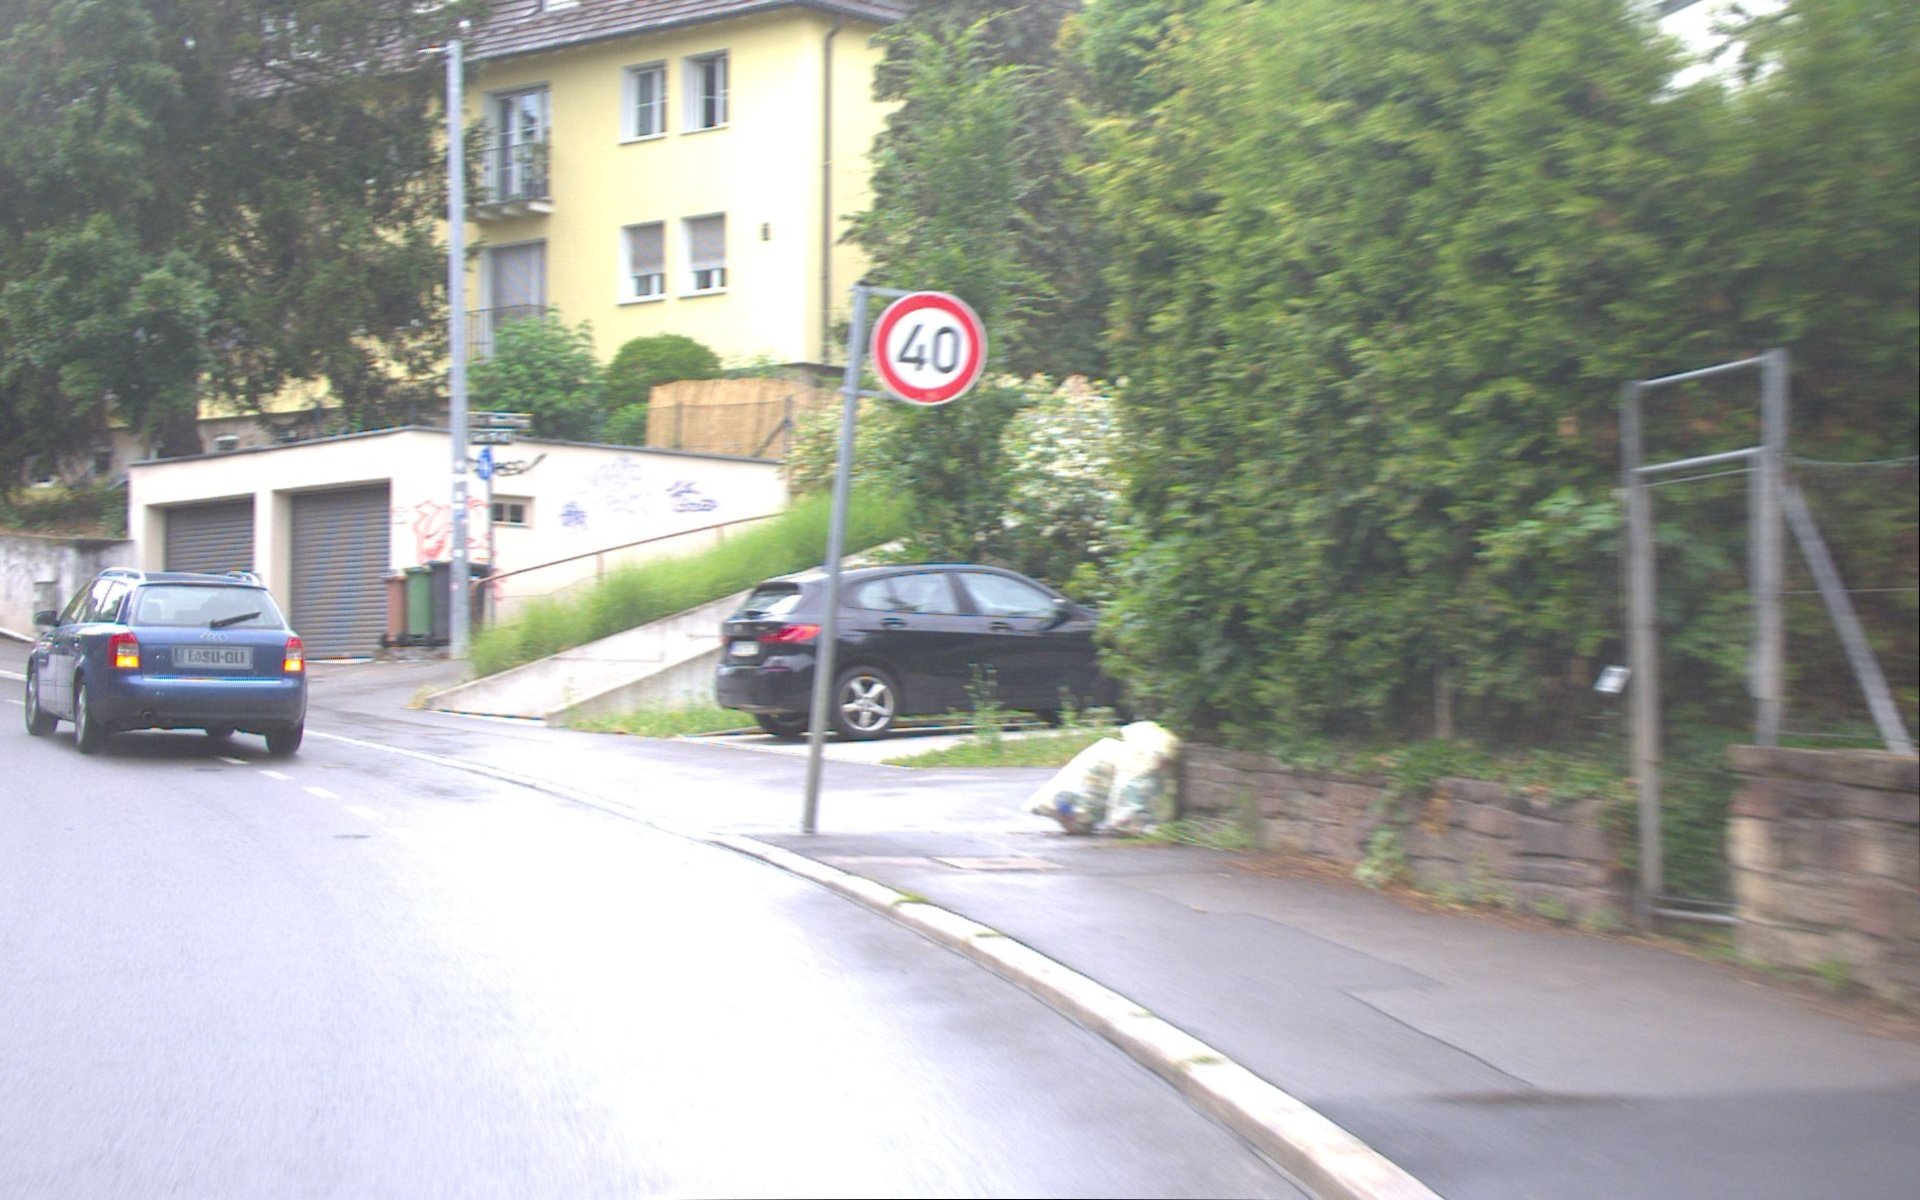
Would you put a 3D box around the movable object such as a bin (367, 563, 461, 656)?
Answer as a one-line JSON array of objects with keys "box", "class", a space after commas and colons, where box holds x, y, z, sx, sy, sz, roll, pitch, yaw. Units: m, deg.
[{"box": [-6.837, 0.114, 43.072, 0.860, 1.138, 0.799, -1, 1, -44], "class": "movable object such as a bin"}]

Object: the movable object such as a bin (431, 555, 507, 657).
[{"box": [-5.973, 0.066, 41.841, 0.702, 1.219, 0.580, -1, 1, -44], "class": "movable object such as a bin"}]

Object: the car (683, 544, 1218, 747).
[{"box": [-0.076, 0.338, 29.233, 4.168, 1.503, 1.741, -2, 2, -24], "class": "car"}]

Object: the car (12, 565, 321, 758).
[{"box": [-6.583, 0.435, 28.204, 1.853, 1.409, 4.363, 0, 1, -21], "class": "car"}]

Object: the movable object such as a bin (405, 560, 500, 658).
[{"box": [-6.275, 0.105, 42.496, 0.860, 1.181, 0.787, -1, 1, -44], "class": "movable object such as a bin"}]
